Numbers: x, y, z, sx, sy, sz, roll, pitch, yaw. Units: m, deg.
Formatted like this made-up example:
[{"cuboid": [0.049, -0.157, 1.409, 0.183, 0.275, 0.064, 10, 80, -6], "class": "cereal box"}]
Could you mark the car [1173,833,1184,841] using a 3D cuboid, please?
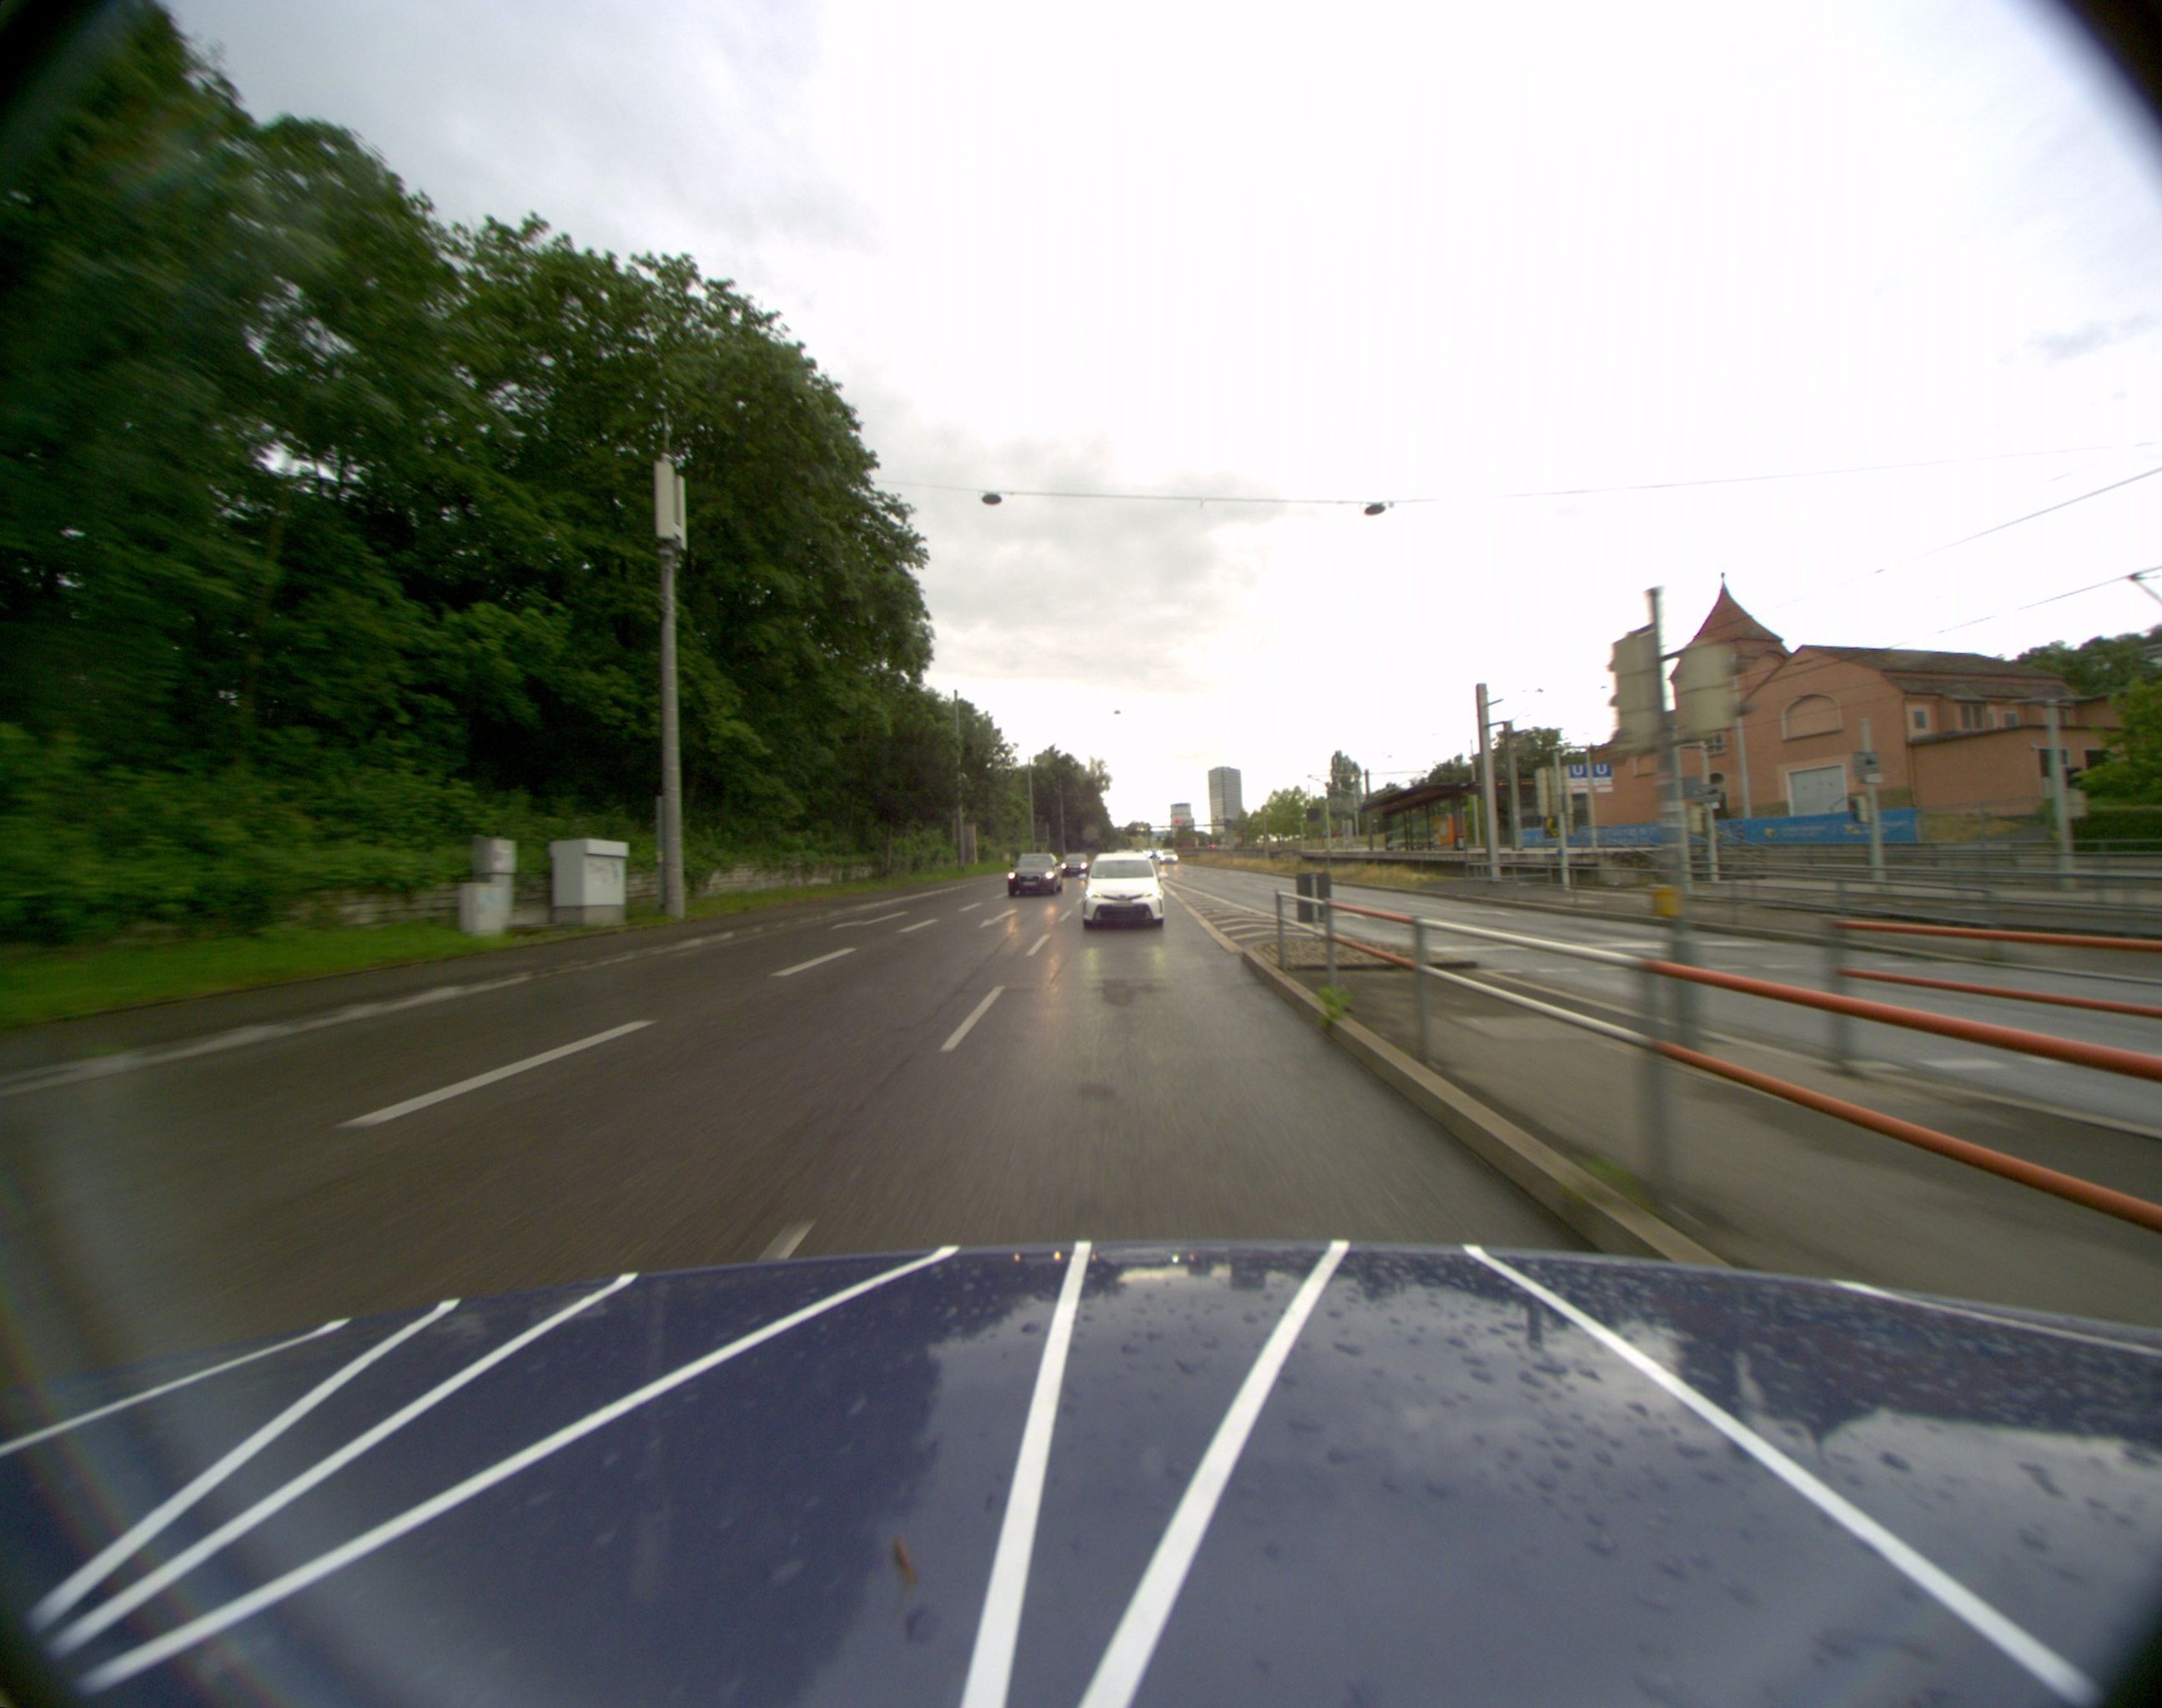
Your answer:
[{"cuboid": [19.031, -3.278, 148.729, 1.801, 1.463, 4.000, -2, 0, 1], "class": "car"}]

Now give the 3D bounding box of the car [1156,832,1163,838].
[{"cuboid": [21.194, -5.078, 205.794, 1.801, 1.463, 4.002, -2, 0, 7], "class": "car"}]

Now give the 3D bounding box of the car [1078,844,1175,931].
[{"cuboid": [0.927, 0.711, 17.595, 1.856, 1.741, 4.000, -2, -1, -1], "class": "car"}]

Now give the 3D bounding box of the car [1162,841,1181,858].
[{"cuboid": [9.220, -0.486, 77.817, 1.738, 1.578, 4.001, -2, 1, 5], "class": "car"}]

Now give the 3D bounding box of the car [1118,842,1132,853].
[{"cuboid": [6.443, -0.960, 111.843, 1.801, 1.463, 4.000, -2, 0, 1], "class": "car"}]

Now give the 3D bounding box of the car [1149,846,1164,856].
[{"cuboid": [11.967, -0.426, 120.422, 1.802, 1.462, 4.000, -2, -1, -1], "class": "car"}]

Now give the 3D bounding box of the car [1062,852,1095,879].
[{"cuboid": [-0.143, 0.684, 49.115, 1.738, 1.578, 4.001, -2, 1, 5], "class": "car"}]

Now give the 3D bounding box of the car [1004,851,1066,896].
[{"cuboid": [-1.750, 0.706, 30.101, 1.855, 1.578, 4.001, -2, 1, 5], "class": "car"}]

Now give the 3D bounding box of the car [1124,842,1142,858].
[{"cuboid": [5.450, -0.401, 79.397, 1.738, 1.578, 4.001, -2, 1, 5], "class": "car"}]
